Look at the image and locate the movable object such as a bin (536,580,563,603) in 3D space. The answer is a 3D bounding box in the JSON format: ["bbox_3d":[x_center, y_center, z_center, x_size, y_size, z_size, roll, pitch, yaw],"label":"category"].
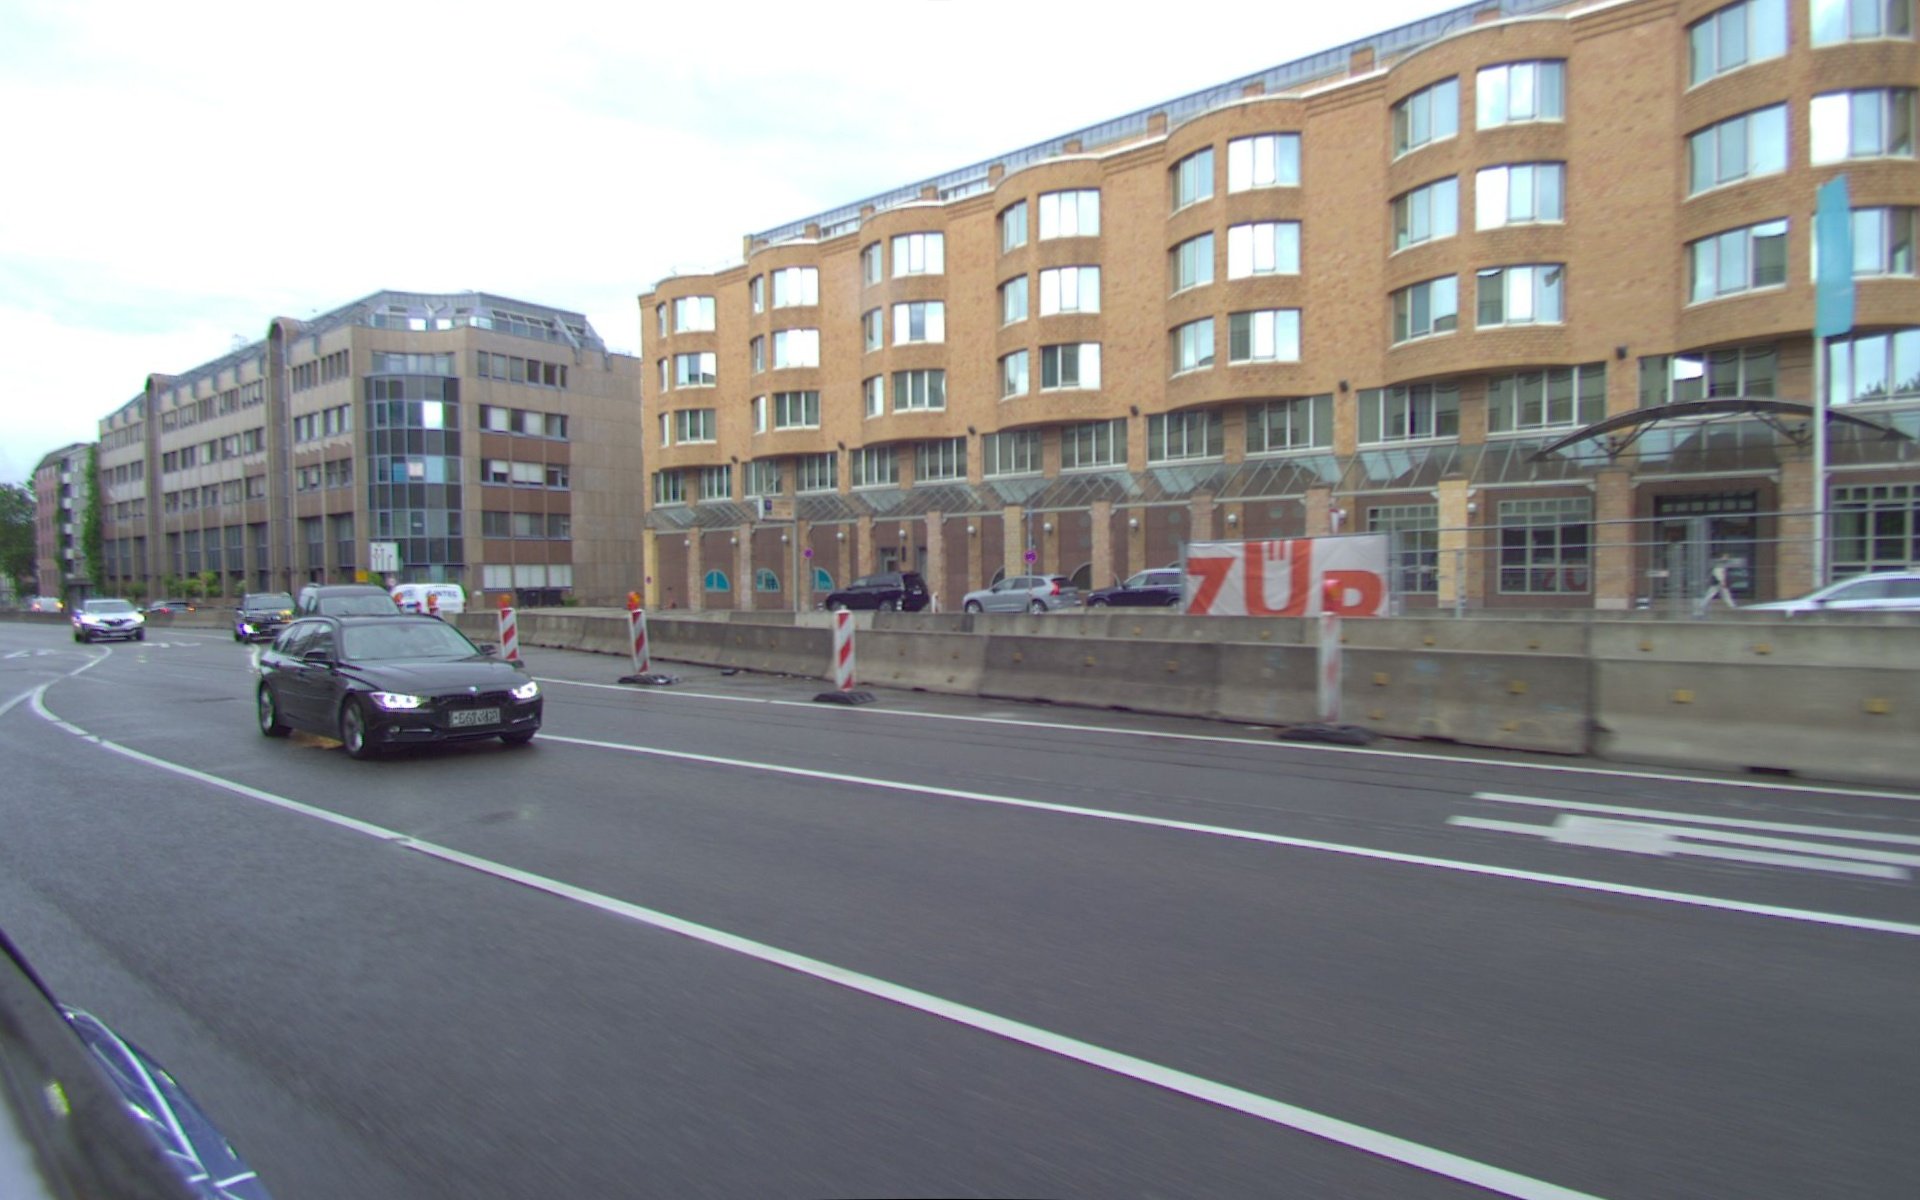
[{"bbox_3d":[-27.243,-0.542,67.180,1.351,1.491,1.229,-1,1,45],"label":"movable object such as a bin"}]

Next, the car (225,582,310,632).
[{"bbox_3d":[-23.499,0.224,34.260,1.747,1.545,4.361,-2,1,-42],"label":"car"}]

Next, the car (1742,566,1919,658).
[{"bbox_3d":[16.396,0.200,17.629,4.357,1.538,1.743,-1,0,38],"label":"car"}]

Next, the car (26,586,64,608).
[{"bbox_3d":[-80.413,-0.247,88.886,4.874,1.796,1.867,-1,1,41],"label":"car"}]

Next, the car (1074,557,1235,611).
[{"bbox_3d":[6.540,-0.528,34.371,5.044,1.703,1.974,-1,1,39],"label":"car"}]

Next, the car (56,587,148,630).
[{"bbox_3d":[-32.935,0.322,38.800,4.649,1.545,1.751,-1,1,38],"label":"car"}]

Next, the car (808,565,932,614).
[{"bbox_3d":[-3.772,-0.437,41.952,5.004,1.900,1.976,-1,1,36],"label":"car"}]

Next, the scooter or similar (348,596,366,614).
[{"bbox_3d":[-36.789,0.320,61.708,1.039,1.071,0.446,-1,1,27],"label":"scooter or similar"}]

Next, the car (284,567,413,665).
[{"bbox_3d":[-12.856,0.281,21.162,1.771,1.814,4.259,-2,2,-38],"label":"car"}]

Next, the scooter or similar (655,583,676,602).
[{"bbox_3d":[-16.633,-0.439,57.147,1.033,1.071,0.449,-1,1,11],"label":"scooter or similar"}]

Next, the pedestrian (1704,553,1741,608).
[{"bbox_3d":[20.427,-0.513,27.122,0.736,1.463,0.610,-1,0,41],"label":"pedestrian"}]

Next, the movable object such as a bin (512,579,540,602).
[{"bbox_3d":[-28.448,-0.616,66.319,1.351,1.491,1.229,-1,1,45],"label":"movable object such as a bin"}]

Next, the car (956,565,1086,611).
[{"bbox_3d":[2.248,-0.444,37.807,4.532,1.606,1.975,-1,1,37],"label":"car"}]

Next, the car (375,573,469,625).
[{"bbox_3d":[-21.121,-0.057,39.642,1.970,1.899,4.874,-2,1,-43],"label":"car"}]

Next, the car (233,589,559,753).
[{"bbox_3d":[-6.500,0.657,11.413,4.654,1.454,1.749,-1,1,42],"label":"car"}]

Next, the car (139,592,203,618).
[{"bbox_3d":[-47.006,0.291,60.291,4.221,1.470,1.975,-1,1,37],"label":"car"}]
